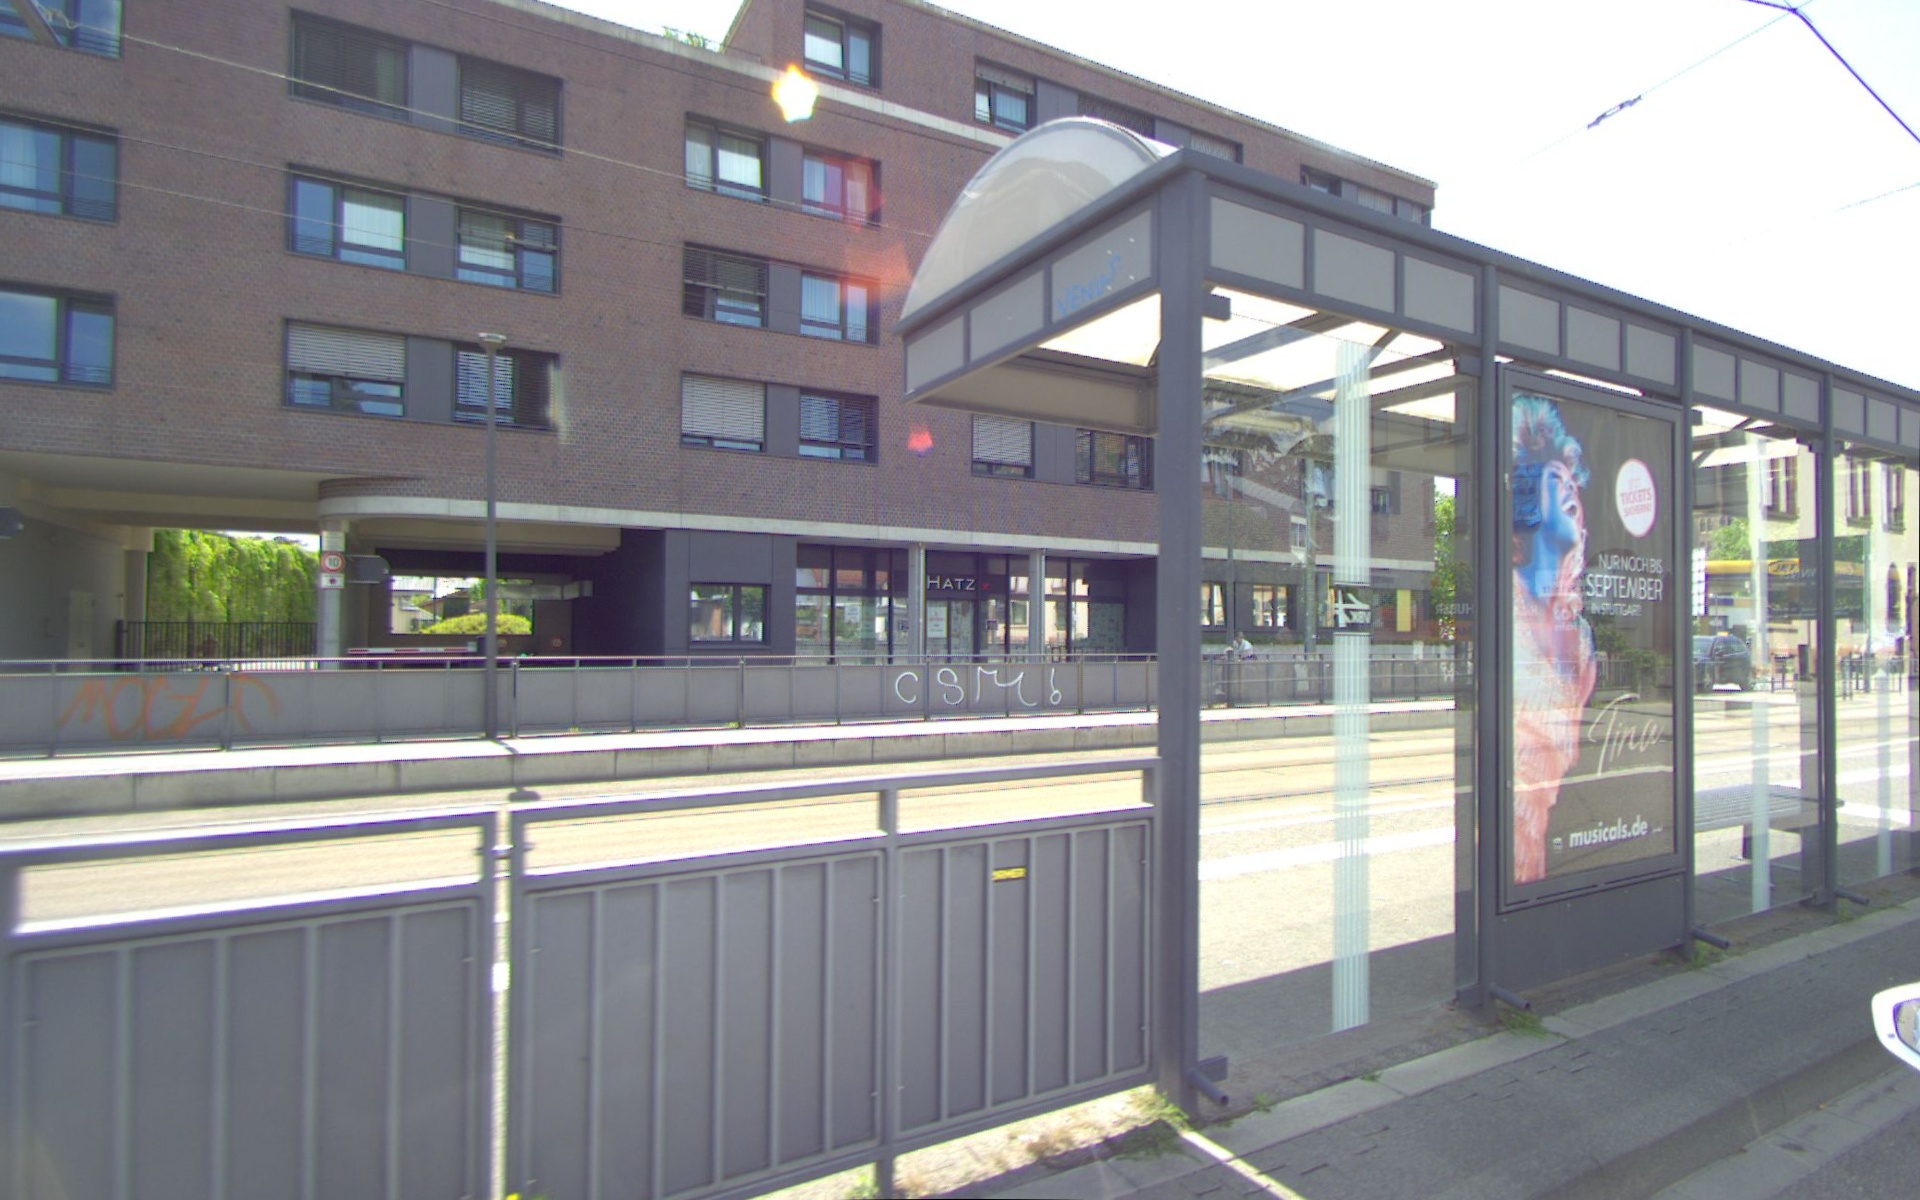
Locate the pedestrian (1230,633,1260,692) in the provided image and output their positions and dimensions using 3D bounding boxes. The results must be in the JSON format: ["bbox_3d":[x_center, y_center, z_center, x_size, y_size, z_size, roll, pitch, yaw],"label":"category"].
[{"bbox_3d":[6.915,1.514,24.378,0.529,1.402,0.433,2,-4,-29],"label":"pedestrian"}]

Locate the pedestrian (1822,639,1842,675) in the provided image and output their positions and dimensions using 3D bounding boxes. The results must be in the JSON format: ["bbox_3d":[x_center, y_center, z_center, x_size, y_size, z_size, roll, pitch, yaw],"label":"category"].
[{"bbox_3d":[41.658,2.710,47.994,0.664,1.680,0.550,1,-1,-29],"label":"pedestrian"}]

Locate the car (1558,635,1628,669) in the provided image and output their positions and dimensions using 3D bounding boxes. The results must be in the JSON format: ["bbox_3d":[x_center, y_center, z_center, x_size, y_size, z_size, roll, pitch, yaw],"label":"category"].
[{"bbox_3d":[31.790,2.656,50.572,2.017,1.587,4.003,-2,-5,19],"label":"car"}]

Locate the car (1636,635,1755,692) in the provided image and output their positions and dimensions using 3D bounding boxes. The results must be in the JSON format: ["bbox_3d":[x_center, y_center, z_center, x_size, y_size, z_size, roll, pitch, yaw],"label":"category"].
[{"bbox_3d":[22.202,1.882,30.301,3.718,1.637,1.689,2,-2,-33],"label":"car"}]

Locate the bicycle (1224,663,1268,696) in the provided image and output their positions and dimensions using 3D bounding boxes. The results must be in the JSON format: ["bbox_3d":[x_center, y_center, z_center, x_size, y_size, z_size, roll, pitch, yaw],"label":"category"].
[{"bbox_3d":[6.938,1.922,24.346,1.172,0.771,0.291,2,-4,-29],"label":"bicycle"}]
